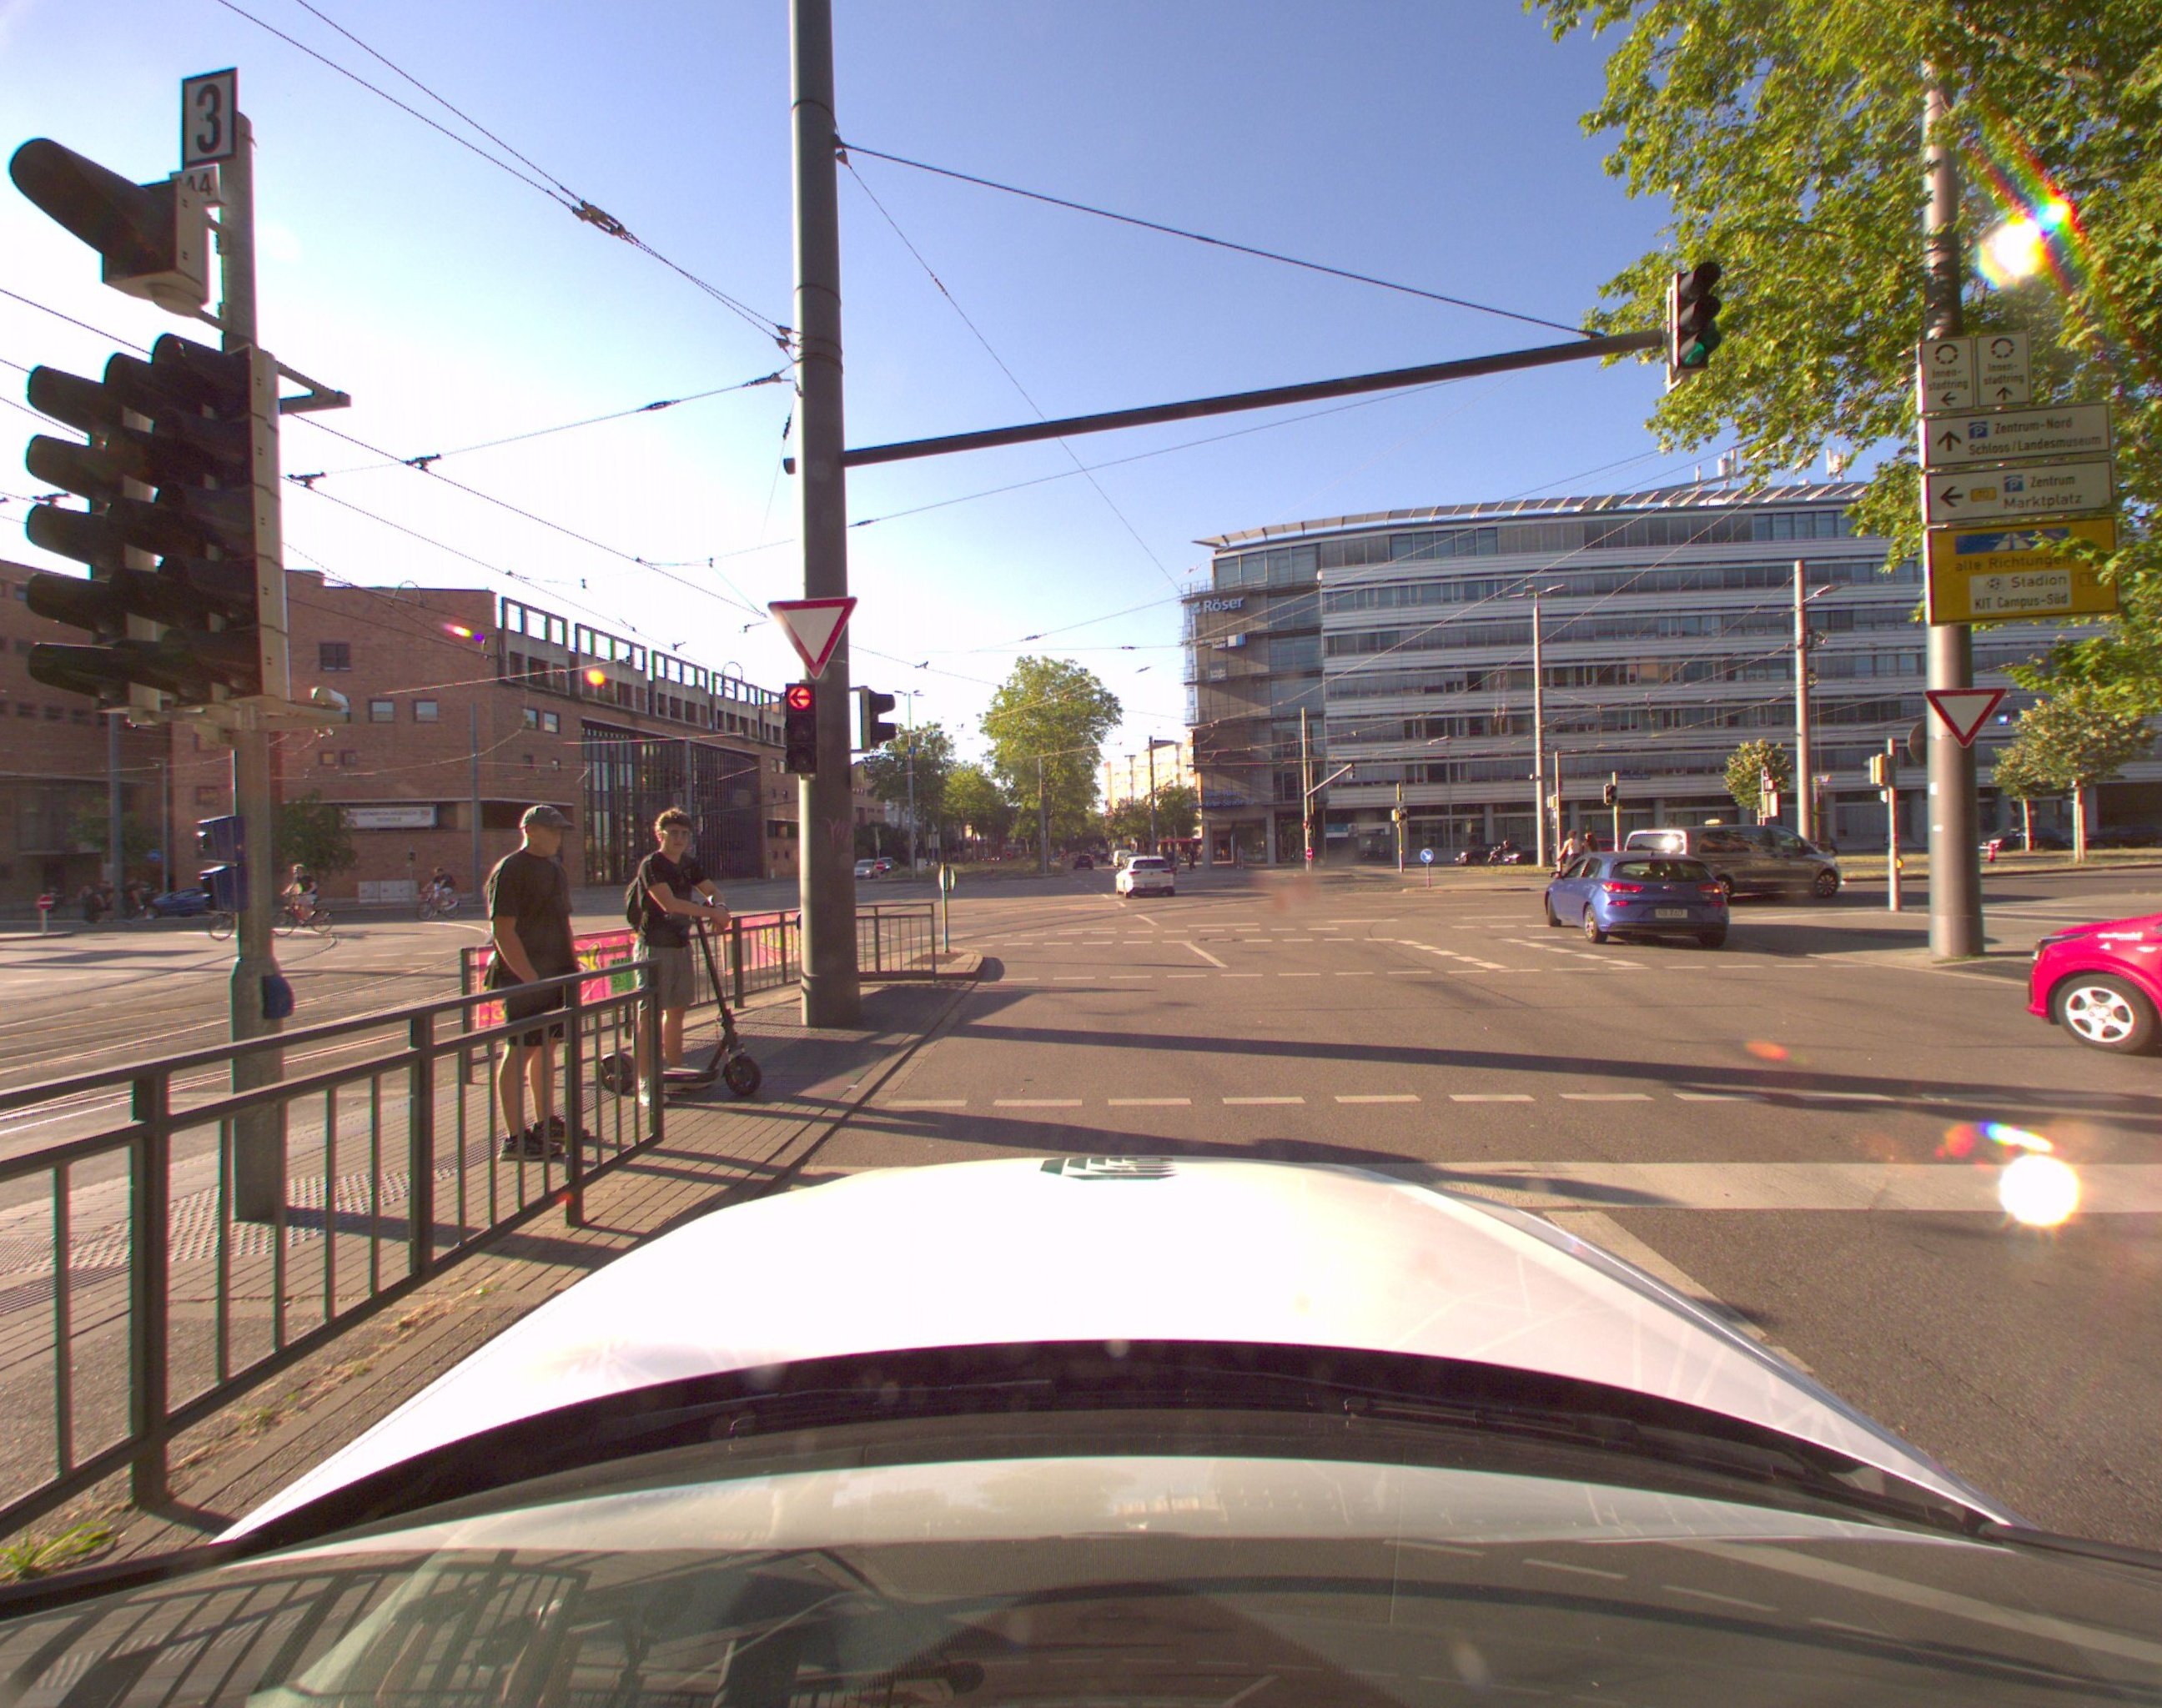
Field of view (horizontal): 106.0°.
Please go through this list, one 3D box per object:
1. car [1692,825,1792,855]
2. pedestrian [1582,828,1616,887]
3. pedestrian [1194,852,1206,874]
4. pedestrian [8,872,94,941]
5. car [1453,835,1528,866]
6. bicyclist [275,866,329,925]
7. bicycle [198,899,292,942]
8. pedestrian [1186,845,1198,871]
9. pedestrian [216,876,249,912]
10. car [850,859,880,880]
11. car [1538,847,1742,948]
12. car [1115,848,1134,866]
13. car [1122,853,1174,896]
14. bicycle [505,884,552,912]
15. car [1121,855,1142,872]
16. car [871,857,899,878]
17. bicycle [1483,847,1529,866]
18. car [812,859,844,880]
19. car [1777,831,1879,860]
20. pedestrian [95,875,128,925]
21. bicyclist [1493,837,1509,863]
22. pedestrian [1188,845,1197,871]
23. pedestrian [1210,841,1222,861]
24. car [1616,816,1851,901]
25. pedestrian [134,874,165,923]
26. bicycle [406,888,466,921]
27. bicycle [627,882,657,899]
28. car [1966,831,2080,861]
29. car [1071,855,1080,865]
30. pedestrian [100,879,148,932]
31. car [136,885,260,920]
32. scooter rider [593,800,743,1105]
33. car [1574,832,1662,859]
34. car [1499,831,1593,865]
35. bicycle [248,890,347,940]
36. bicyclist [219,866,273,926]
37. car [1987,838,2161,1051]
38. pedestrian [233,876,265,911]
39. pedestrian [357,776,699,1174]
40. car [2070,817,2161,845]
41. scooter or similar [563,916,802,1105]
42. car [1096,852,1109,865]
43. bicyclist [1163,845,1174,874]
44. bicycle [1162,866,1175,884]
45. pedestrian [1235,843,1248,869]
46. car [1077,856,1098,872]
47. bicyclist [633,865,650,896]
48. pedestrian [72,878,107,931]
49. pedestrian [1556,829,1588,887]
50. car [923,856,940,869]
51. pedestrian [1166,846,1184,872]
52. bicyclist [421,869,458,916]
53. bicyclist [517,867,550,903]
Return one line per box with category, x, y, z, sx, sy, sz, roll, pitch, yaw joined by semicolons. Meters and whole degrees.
car;36.732;-0.775;45.320;3.968;1.596;1.884;0;-1;5
pedestrian;15.670;0.099;24.661;0.677;1.759;0.746;-2;0;22
pedestrian;9.271;0.683;63.378;0.866;1.707;0.794;0;-1;1
pedestrian;-30.947;1.556;24.500;1.029;2.014;1.208;0;-1;1
car;27.127;-0.227;54.065;3.972;2.014;2.001;0;-1;2
bicyclist;-21.881;1.160;22.882;0.680;1.560;0.758;-2;2;-1
bicycle;-22.926;1.800;22.387;0.651;0.998;1.899;-2;0;-3
pedestrian;8.518;0.313;62.527;0.846;2.014;0.708;0;-1;1
pedestrian;-50.879;2.398;48.859;1.003;2.052;0.850;-2;0;-1
car;-17.977;1.258;67.859;1.618;1.577;3.994;-2;0;-4
car;9.298;0.627;13.964;1.734;1.459;4.232;-1;0;18
car;4.742;0.343;89.704;1.986;2.014;4.001;0;-1;2
car;2.389;0.698;29.572;1.740;1.418;4.004;-1;0;4
bicycle;-22.788;1.794;33.645;0.650;1.050;2.010;-1;0;-3
car;5.075;0.969;82.734;2.022;1.596;4.001;0;-1;2
car;-18.133;1.206;75.602;1.819;1.790;3.994;-2;0;-4
bicycle;25.561;0.134;49.022;2.397;1.022;0.638;-2;0;6
car;-22.008;1.345;70.918;1.865;1.762;3.992;0;0;-5
car;43.577;-0.469;47.577;4.097;1.596;1.884;0;-1;5
pedestrian;-40.404;1.915;33.952;0.615;2.013;0.726;-2;0;-28
bicyclist;25.302;-0.242;49.066;0.660;1.503;0.614;-2;0;7
pedestrian;8.569;0.314;62.463;0.584;2.014;0.620;0;-1;2
pedestrian;15.013;-0.355;90.391;1.305;2.190;1.173;-1;-1;8
car;16.095;0.070;20.143;4.873;1.896;1.998;-1;0;-14
pedestrian;-39.519;1.878;34.557;0.615;2.013;0.726;-2;0;-28
bicycle;-22.466;1.735;28.414;0.692;0.998;1.898;-2;0;-5
bicycle;-23.315;1.936;43.290;0.588;0.771;1.966;-2;0;-2
car;53.542;-0.444;46.338;4.097;1.596;1.884;0;-1;5
car;-1.381;1.383;195.743;1.985;2.015;4.001;0;-7;3
pedestrian;-35.331;1.877;30.072;0.721;1.902;0.875;0;-1;-1
car;-42.069;2.295;38.865;3.707;1.376;1.579;-2;0;-13
scooter rider;-2.683;0.611;5.339;0.563;1.853;0.681;-2;-2;6
car;32.047;-0.512;48.690;3.966;1.552;1.800;0;-1;6
car;26.420;-0.323;46.377;4.234;1.723;1.886;-2;0;4
bicycle;-21.860;1.664;22.786;0.683;1.142;2.110;-2;2;-1
bicyclist;-22.941;1.142;22.378;0.659;1.574;0.758;-2;0;-3
car;8.161;0.611;4.872;1.485;1.459;3.596;-1;0;0
pedestrian;-49.816;2.366;48.764;1.003;2.052;0.850;-2;0;-1
pedestrian;-2.870;0.591;4.338;1.161;1.884;0.856;-2;0;6
car;62.357;-1.361;48.637;4.097;1.596;1.884;0;-1;5
scooter or similar;-2.561;0.992;5.314;1.196;1.081;0.649;-2;0;5
car;3.353;0.690;126.919;1.986;2.014;4.001;0;-1;2
bicyclist;4.355;0.254;40.348;0.485;1.439;0.616;1;0;1
bicycle;4.356;1.034;40.498;0.489;0.788;1.862;-1;0;2
pedestrian;12.538;0.142;63.626;0.866;2.014;0.794;0;-2;1
car;0.612;0.939;76.925;1.759;1.404;4.293;-1;0;-2
bicyclist;-23.331;1.398;43.264;0.585;1.625;0.514;-2;0;-2
pedestrian;-38.956;1.958;32.009;0.615;2.013;0.726;-2;0;-29
pedestrian;15.009;0.120;24.930;0.671;1.759;0.746;-2;0;22
car;-19.009;1.113;103.794;1.673;1.607;3.994;0;-1;-4
pedestrian;7.428;0.399;64.422;1.337;1.950;1.011;-2;-1;1
bicyclist;-22.470;1.339;28.533;0.660;1.569;0.757;-2;0;-6
bicyclist;-22.818;1.272;33.957;0.652;1.474;1.031;-1;-1;-3
